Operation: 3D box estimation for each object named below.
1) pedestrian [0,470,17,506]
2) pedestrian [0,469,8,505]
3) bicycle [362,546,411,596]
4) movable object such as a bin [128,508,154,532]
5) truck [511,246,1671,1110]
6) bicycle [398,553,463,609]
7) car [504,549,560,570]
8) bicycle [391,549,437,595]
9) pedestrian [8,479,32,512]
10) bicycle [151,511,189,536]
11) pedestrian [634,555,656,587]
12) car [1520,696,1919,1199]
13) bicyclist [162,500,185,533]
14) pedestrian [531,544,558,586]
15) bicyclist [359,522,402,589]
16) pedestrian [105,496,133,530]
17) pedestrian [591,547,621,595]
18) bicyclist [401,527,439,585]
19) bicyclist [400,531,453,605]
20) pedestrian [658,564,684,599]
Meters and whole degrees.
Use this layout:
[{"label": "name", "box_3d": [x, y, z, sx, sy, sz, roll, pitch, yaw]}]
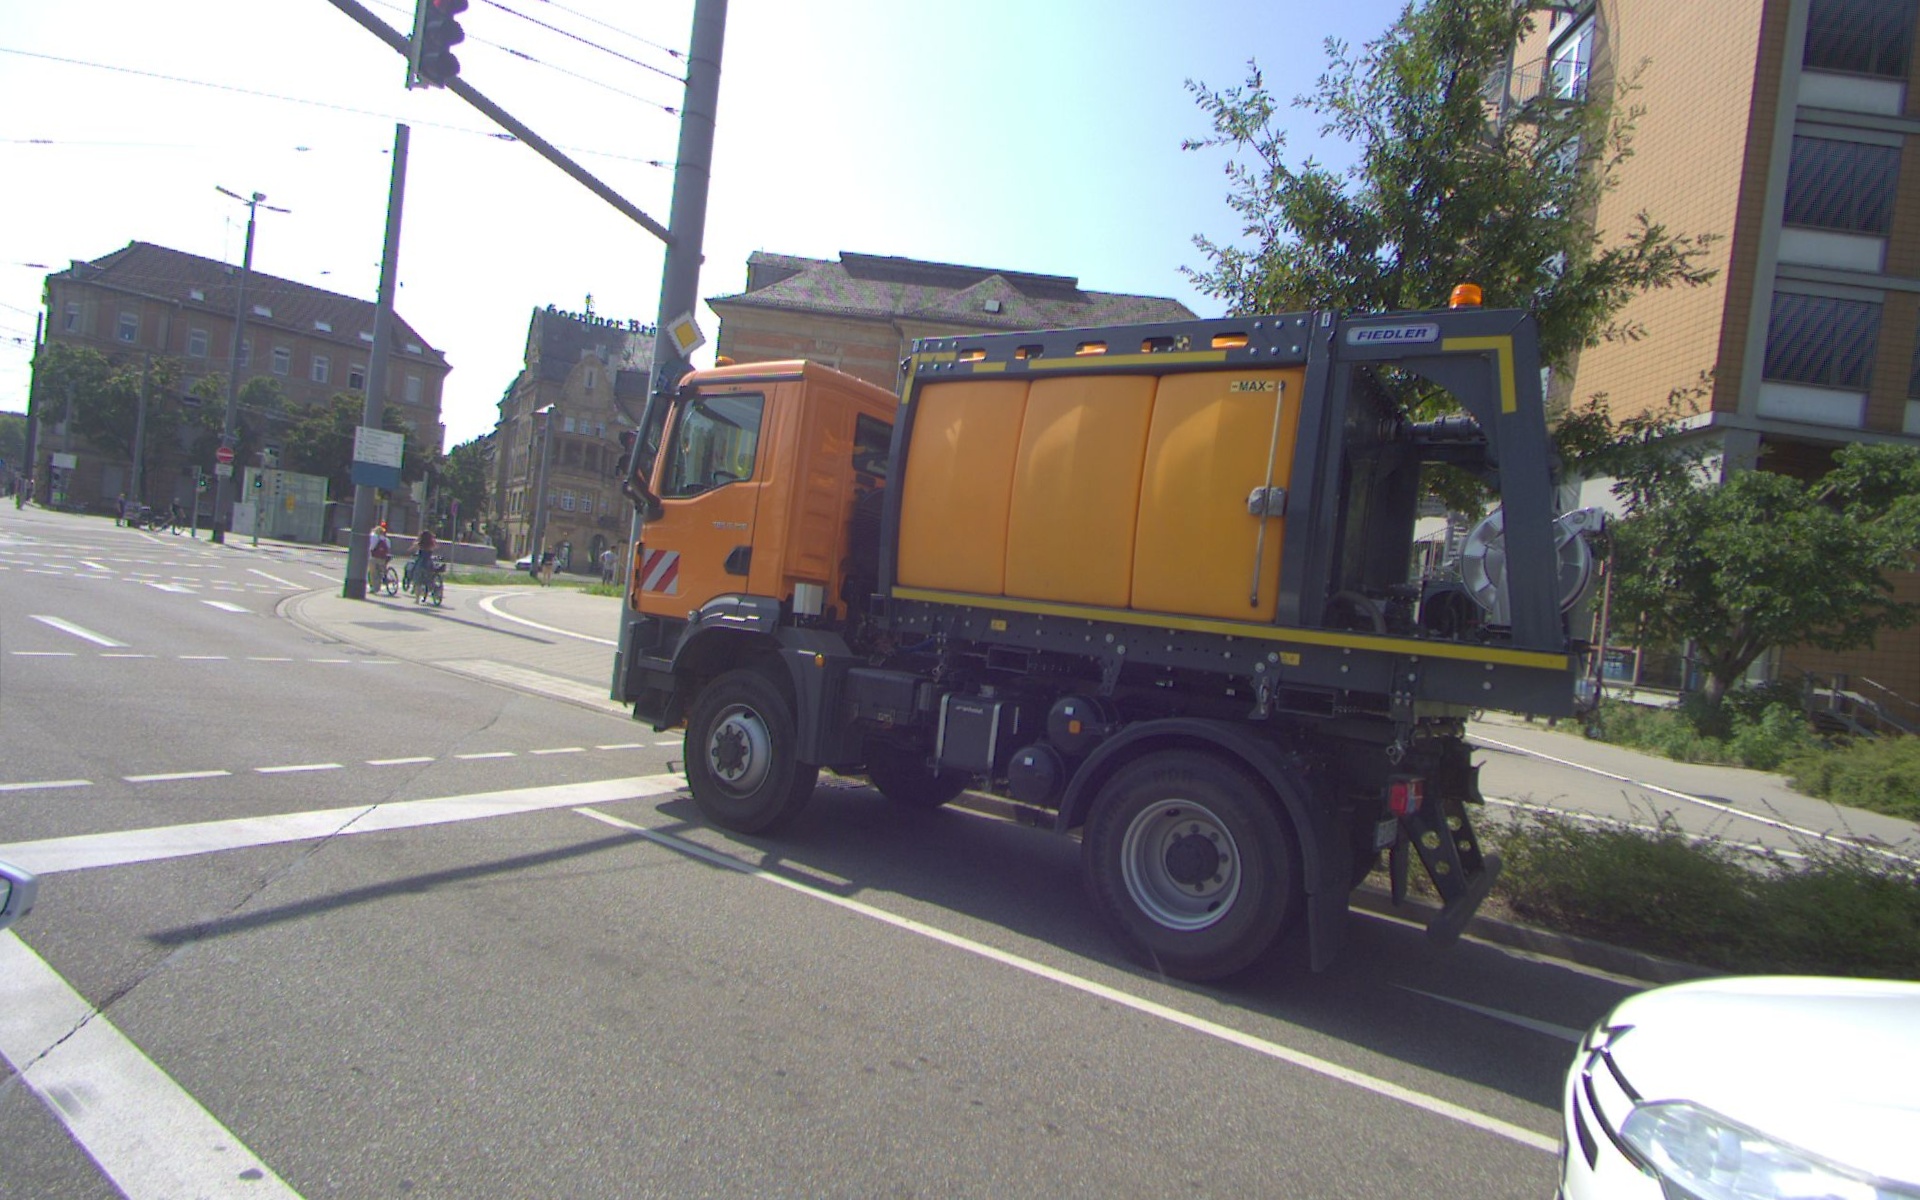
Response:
[{"label": "pedestrian", "box_3d": [-83.381, -9.796, 87.942, 0.960, 3.055, 0.983, 7, 1, 38]}, {"label": "pedestrian", "box_3d": [-82.496, -9.727, 86.218, 0.960, 3.055, 0.983, 7, 1, 38]}, {"label": "bicycle", "box_3d": [-13.880, -0.708, 24.318, 1.632, 1.068, 0.535, 7, 1, 45]}, {"label": "movable object such as a bin", "box_3d": [-41.807, -4.092, 51.328, 0.502, 1.091, 0.815, 7, 1, 21]}, {"label": "truck", "box_3d": [0.293, 0.061, 6.599, 6.751, 3.174, 2.493, 7, 0, 34]}, {"label": "bicycle", "box_3d": [-11.905, -0.440, 22.609, 1.795, 1.068, 0.492, 7, 1, 37]}, {"label": "car", "box_3d": [-32.069, -2.991, 75.441, 1.962, 1.103, 4.002, 7, 0, 8]}, {"label": "bicycle", "box_3d": [-14.452, -0.742, 26.590, 1.632, 1.068, 0.535, 7, 1, 45]}, {"label": "pedestrian", "box_3d": [-50.389, -5.603, 53.922, 0.562, 1.623, 0.701, 7, 1, 24]}, {"label": "bicycle", "box_3d": [-39.807, -3.867, 50.679, 1.622, 1.068, 0.471, 7, 1, 12]}, {"label": "pedestrian", "box_3d": [-13.049, -1.191, 41.665, 0.659, 1.229, 0.523, 6, 1, -30]}, {"label": "car", "box_3d": [3.262, 1.175, 1.104, 4.533, 1.446, 1.771, 7, 0, 31]}, {"label": "bicyclist", "box_3d": [-39.580, -4.205, 50.647, 0.511, 1.548, 0.613, 7, 1, 8]}, {"label": "pedestrian", "box_3d": [-16.699, -1.394, 40.452, 0.727, 1.595, 0.787, 6, 1, -14]}, {"label": "bicyclist", "box_3d": [-14.118, -1.092, 24.504, 0.702, 1.537, 0.626, 7, 1, 44]}, {"label": "pedestrian", "box_3d": [-42.409, -4.382, 50.715, 0.519, 1.564, 0.852, 7, 1, 24]}, {"label": "pedestrian", "box_3d": [-13.618, -1.111, 38.725, 0.808, 1.746, 0.546, 6, 1, -9]}, {"label": "bicyclist", "box_3d": [-14.145, -1.149, 26.337, 0.882, 1.410, 0.529, 7, 1, 44]}, {"label": "bicyclist", "box_3d": [-12.047, -0.717, 22.724, 0.653, 1.537, 0.734, 7, 1, 36]}, {"label": "pedestrian", "box_3d": [-12.555, -0.785, 43.684, 0.679, 1.417, 0.767, 7, 1, 7]}]
